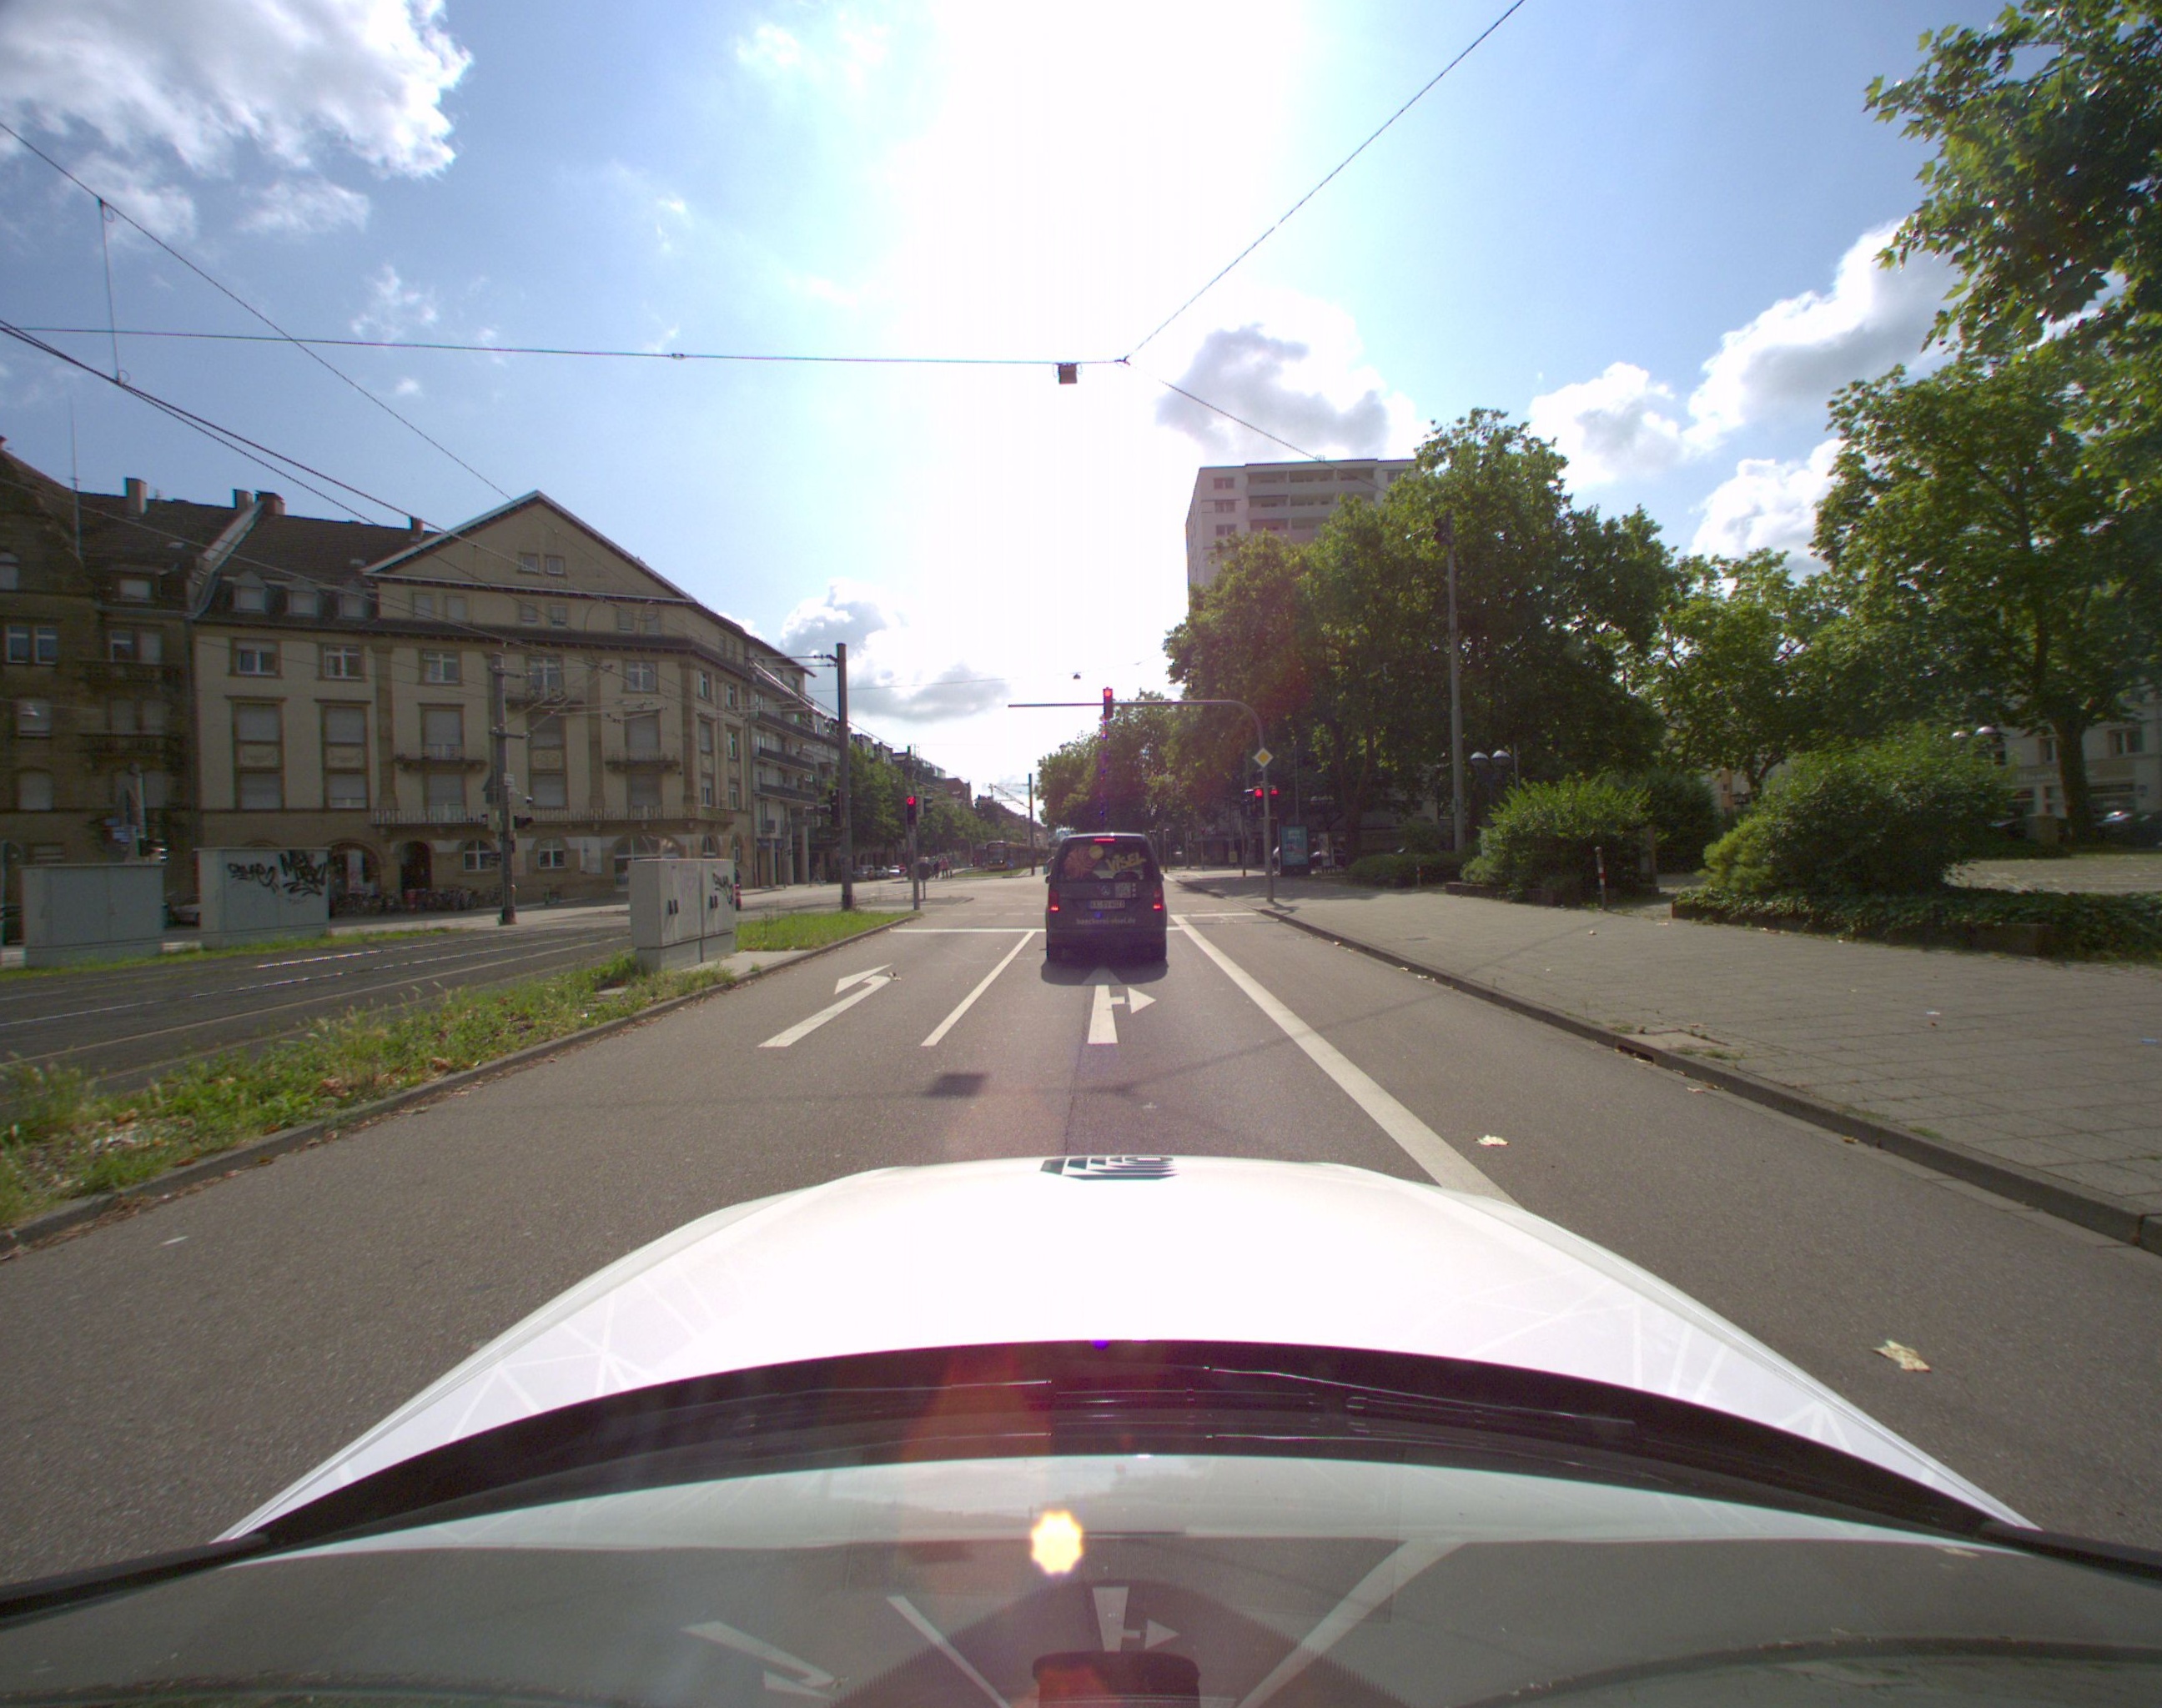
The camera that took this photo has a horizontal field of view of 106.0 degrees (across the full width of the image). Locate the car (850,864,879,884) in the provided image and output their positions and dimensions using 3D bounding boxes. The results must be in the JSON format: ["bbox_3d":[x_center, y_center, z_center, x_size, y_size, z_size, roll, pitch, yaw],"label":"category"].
[{"bbox_3d":[-23.671,2.193,89.163,1.986,2.013,4.002,-3,0,2],"label":"car"}]

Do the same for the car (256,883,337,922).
[{"bbox_3d":[-38.405,2.367,39.836,3.948,1.674,2.013,-3,0,34],"label":"car"}]

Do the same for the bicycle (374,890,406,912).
[{"bbox_3d":[-36.059,2.440,42.505,0.744,1.053,2.343,-2,0,-27],"label":"bicycle"}]

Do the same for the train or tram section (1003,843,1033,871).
[{"bbox_3d":[-8.262,0.344,108.951,2.232,3.331,14.020,-3,0,2],"label":"train or tram section"}]

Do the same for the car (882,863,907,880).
[{"bbox_3d":[-23.375,2.204,102.325,1.986,2.013,4.002,-3,0,2],"label":"car"}]

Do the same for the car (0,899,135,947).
[{"bbox_3d":[-37.577,2.509,29.108,4.574,1.436,1.694,-3,0,-22],"label":"car"}]

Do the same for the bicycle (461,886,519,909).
[{"bbox_3d":[-31.898,2.344,43.993,0.797,1.053,2.576,-3,0,14],"label":"bicycle"}]

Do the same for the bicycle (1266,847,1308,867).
[{"bbox_3d":[12.336,0.183,48.869,2.294,1.048,0.897,-2,0,-1],"label":"bicycle"}]

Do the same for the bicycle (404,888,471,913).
[{"bbox_3d":[-32.902,2.367,41.692,2.571,1.053,0.676,-3,0,-26],"label":"bicycle"}]

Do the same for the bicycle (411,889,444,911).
[{"bbox_3d":[-34.373,2.404,42.862,0.808,1.053,2.543,-2,0,-27],"label":"bicycle"}]

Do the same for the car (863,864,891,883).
[{"bbox_3d":[-23.457,2.191,93.815,1.986,2.013,4.002,-3,0,2],"label":"car"}]

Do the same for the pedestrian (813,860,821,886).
[{"bbox_3d":[-20.663,1.506,63.728,0.476,2.013,0.419,-3,0,-4],"label":"pedestrian"}]

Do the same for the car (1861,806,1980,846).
[{"bbox_3d":[46.978,-1.534,45.658,4.396,2.013,2.079,-3,0,2],"label":"car"}]

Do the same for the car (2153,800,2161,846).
[{"bbox_3d":[47.426,-1.398,33.058,4.661,1.930,2.194,-3,0,3],"label":"car"}]

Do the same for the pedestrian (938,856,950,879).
[{"bbox_3d":[-10.681,1.055,63.508,0.657,1.784,0.661,-2,0,2],"label":"pedestrian"}]

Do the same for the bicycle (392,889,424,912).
[{"bbox_3d":[-35.128,2.419,42.521,0.744,1.053,2.543,-2,0,-27],"label":"bicycle"}]

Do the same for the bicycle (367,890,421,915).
[{"bbox_3d":[-33.958,2.385,40.295,1.985,1.114,0.482,-3,0,-35],"label":"bicycle"}]

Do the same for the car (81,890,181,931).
[{"bbox_3d":[-43.654,2.594,37.420,3.950,1.673,2.012,-3,0,26],"label":"car"}]

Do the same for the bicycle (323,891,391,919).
[{"bbox_3d":[-36.337,2.571,40.870,3.283,1.253,1.003,-3,0,18],"label":"bicycle"}]

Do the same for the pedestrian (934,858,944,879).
[{"bbox_3d":[-11.576,1.204,66.381,0.657,1.685,0.656,-2,0,2],"label":"pedestrian"}]

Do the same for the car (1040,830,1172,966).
[{"bbox_3d":[0.400,0.589,12.670,1.744,1.809,3.476,-1,0,2],"label":"car"}]

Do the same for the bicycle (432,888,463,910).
[{"bbox_3d":[-33.607,2.388,43.258,0.808,1.053,2.543,-2,0,-27],"label":"bicycle"}]

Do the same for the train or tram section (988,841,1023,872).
[{"bbox_3d":[-8.740,0.291,95.479,2.232,3.331,12.977,-3,0,2],"label":"train or tram section"}]

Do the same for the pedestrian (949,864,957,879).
[{"bbox_3d":[-9.981,1.367,63.639,0.462,1.144,0.435,-2,0,1],"label":"pedestrian"}]

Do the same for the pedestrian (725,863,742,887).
[{"bbox_3d":[-23.482,1.433,55.046,0.688,1.596,0.864,-3,0,8],"label":"pedestrian"}]

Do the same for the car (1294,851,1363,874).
[{"bbox_3d":[17.015,0.562,56.003,4.499,1.390,1.694,-3,0,-22],"label":"car"}]

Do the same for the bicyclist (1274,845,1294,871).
[{"bbox_3d":[12.254,0.250,49.161,0.994,1.511,0.780,-2,0,0],"label":"bicyclist"}]

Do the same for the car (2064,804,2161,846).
[{"bbox_3d":[47.040,-1.305,35.833,4.661,1.706,2.194,-3,0,3],"label":"car"}]

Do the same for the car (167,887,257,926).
[{"bbox_3d":[-41.413,2.504,38.814,3.950,1.639,1.813,-3,0,26],"label":"car"}]
